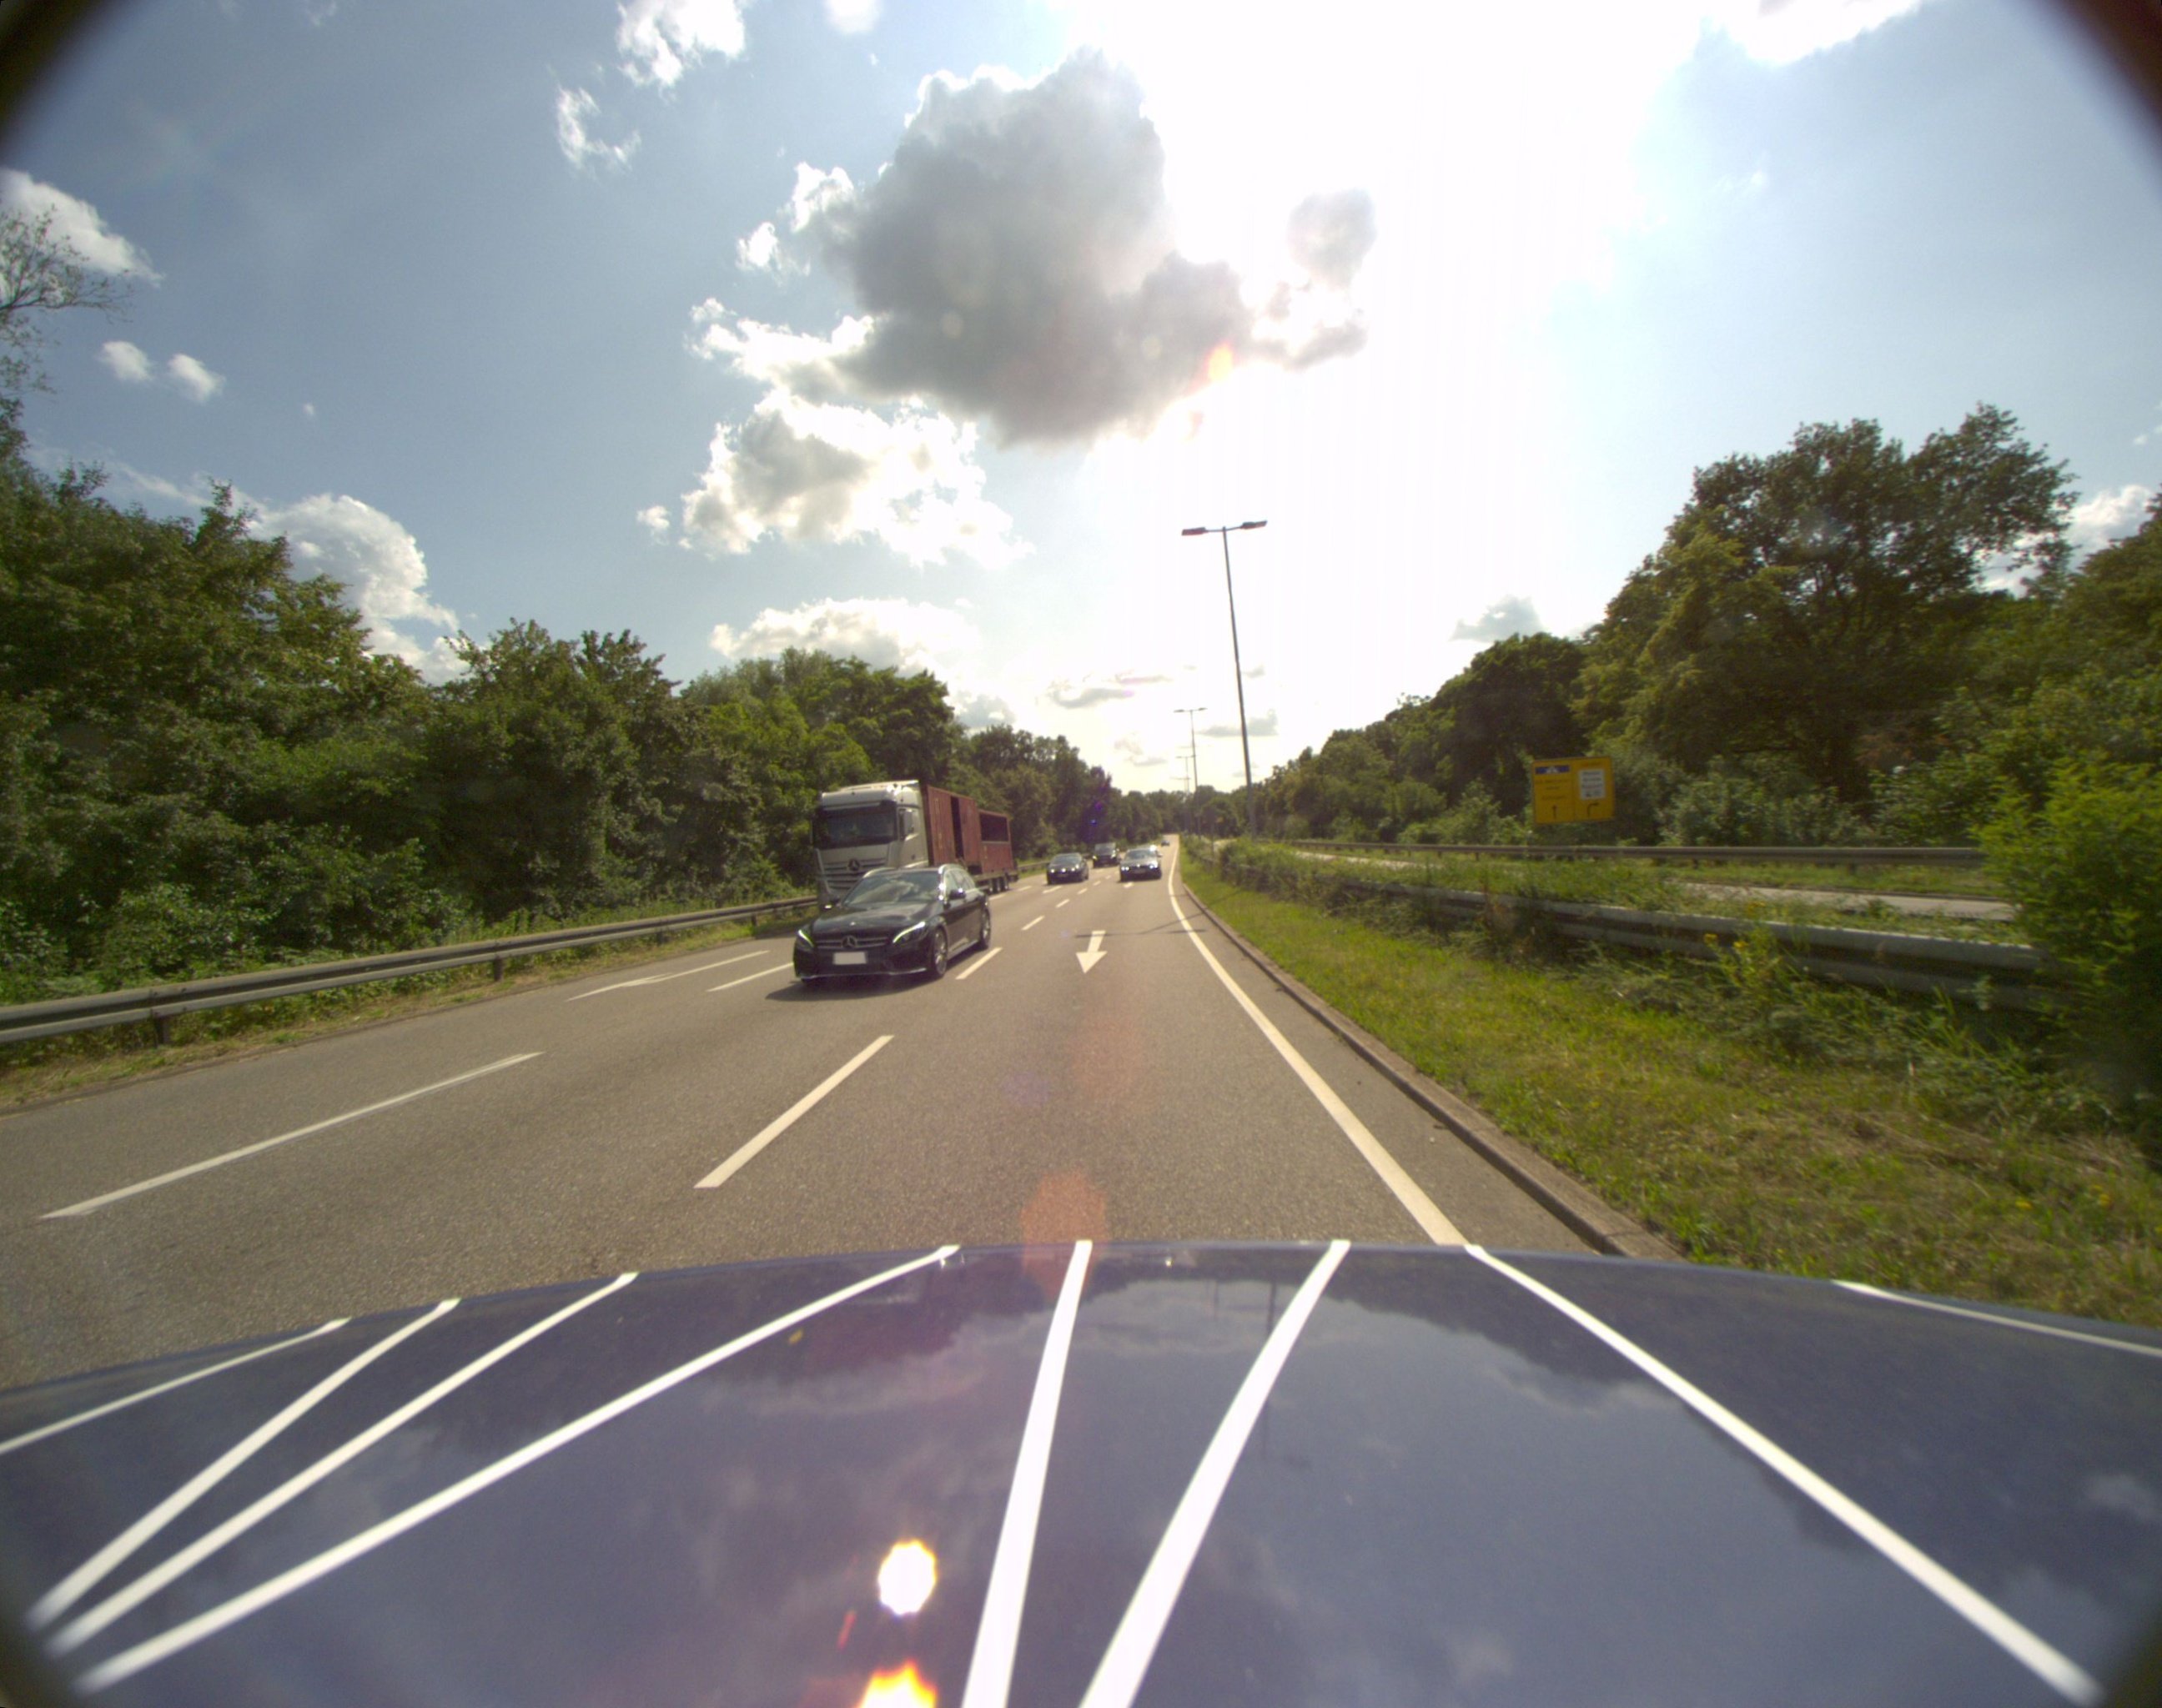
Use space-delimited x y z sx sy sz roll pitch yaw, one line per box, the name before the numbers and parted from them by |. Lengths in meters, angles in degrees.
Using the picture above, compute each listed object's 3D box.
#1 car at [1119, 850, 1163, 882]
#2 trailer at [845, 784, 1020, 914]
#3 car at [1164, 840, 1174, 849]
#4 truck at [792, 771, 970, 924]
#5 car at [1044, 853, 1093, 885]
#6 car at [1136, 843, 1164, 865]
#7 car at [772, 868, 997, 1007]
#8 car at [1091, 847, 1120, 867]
car | 2.817 0.510 35.279 1.857 1.354 4.001 -2 0 5
trailer | -5.111 -0.176 29.603 2.777 3.827 12.326 -4 0 7
car | 19.979 -2.220 172.430 1.976 2.002 4.001 -2 1 7
truck | -5.775 -0.173 23.423 2.775 3.822 6.823 -4 0 6
car | -0.582 0.703 38.061 1.857 1.402 4.002 -4 0 7
car | 5.062 0.001 55.192 1.857 1.402 4.002 -4 0 7
car | -2.545 1.031 11.078 1.795 1.427 4.370 -3 0 4
car | 1.984 0.217 59.594 1.857 1.402 4.002 -4 0 7
